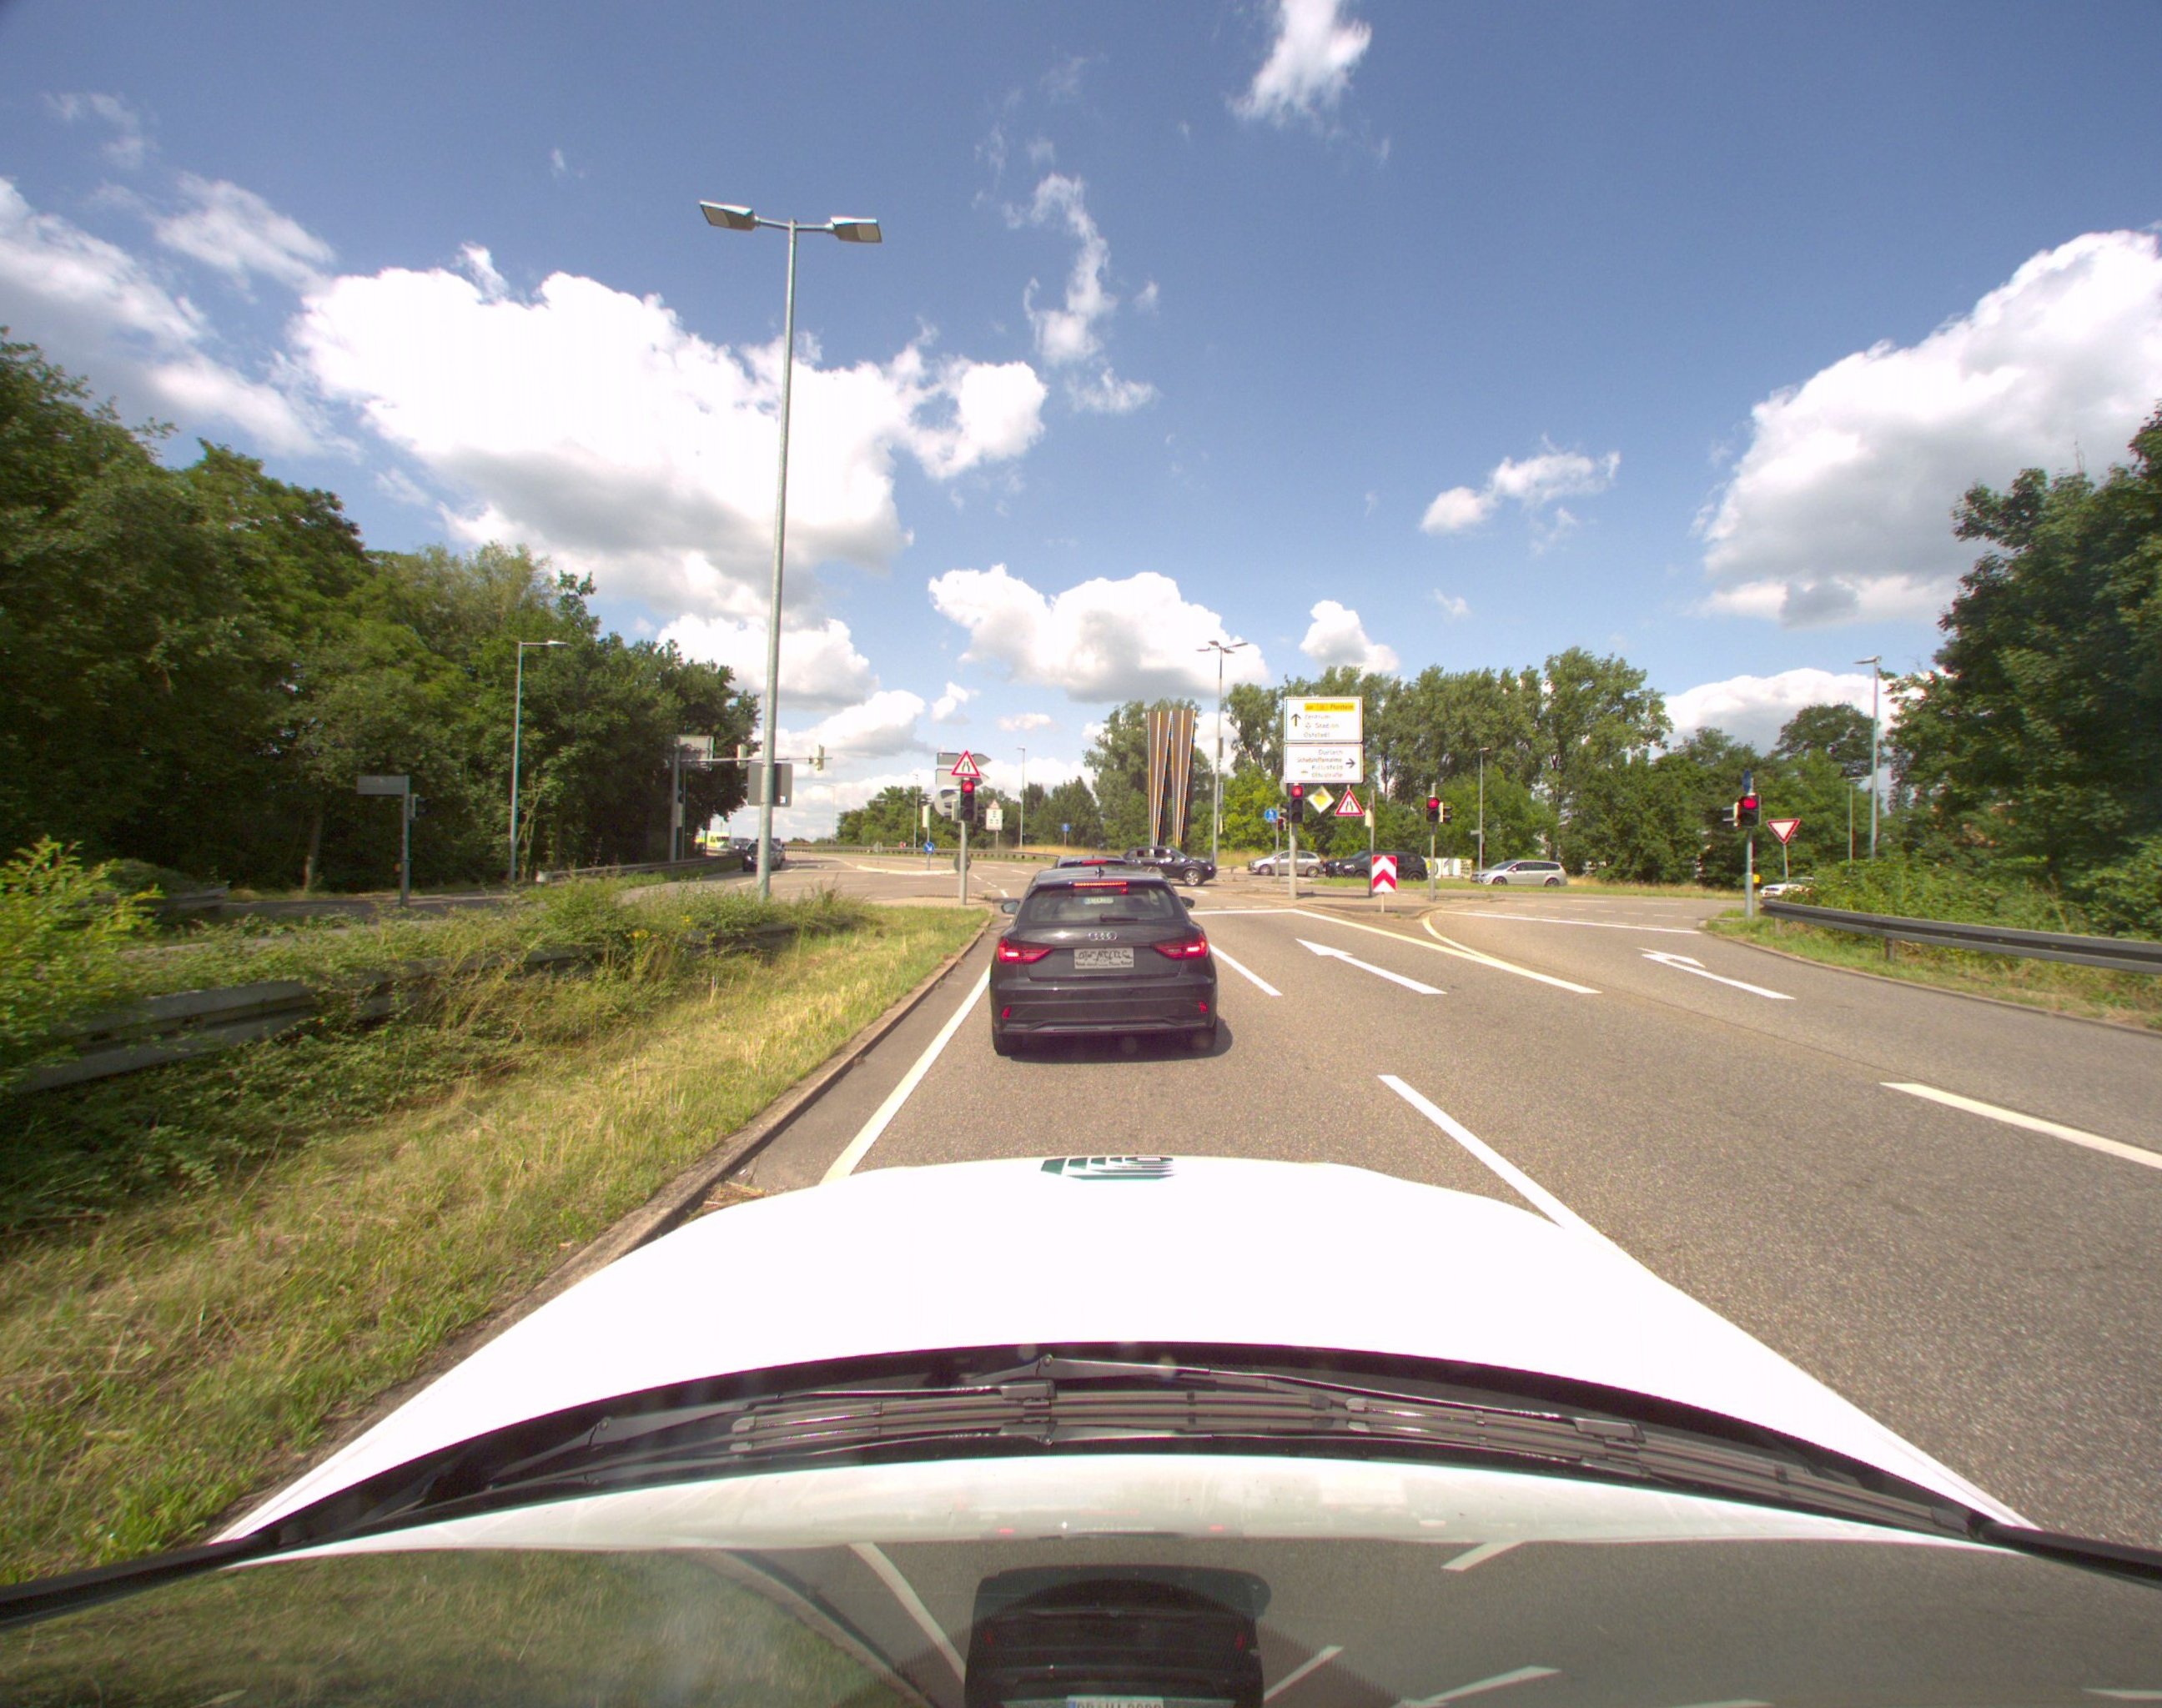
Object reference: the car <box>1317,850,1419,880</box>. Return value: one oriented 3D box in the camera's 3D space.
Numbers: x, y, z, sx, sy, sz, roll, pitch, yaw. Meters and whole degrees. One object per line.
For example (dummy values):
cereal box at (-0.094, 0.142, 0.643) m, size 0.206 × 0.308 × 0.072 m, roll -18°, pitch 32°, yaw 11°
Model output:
car at (15.289, 0.580, 43.559) m, size 4.831 × 1.545 × 1.737 m, roll 1°, pitch 0°, yaw 0°

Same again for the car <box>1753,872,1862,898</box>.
car at (39.679, 1.675, 44.542) m, size 4.481 × 1.281 × 1.736 m, roll 1°, pitch 0°, yaw -2°

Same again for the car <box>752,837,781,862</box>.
car at (-23.210, -0.315, 60.250) m, size 1.849 × 1.802 × 4.299 m, roll 1°, pitch 0°, yaw -19°

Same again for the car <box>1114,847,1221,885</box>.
car at (3.472, 0.454, 32.405) m, size 3.928 × 1.418 × 1.961 m, roll 1°, pitch 0°, yaw 15°

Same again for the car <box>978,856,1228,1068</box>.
car at (0.215, 0.763, 7.699) m, size 1.720 × 1.404 × 4.002 m, roll -1°, pitch 0°, yaw 2°

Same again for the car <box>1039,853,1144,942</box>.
car at (0.098, 0.712, 15.505) m, size 1.722 × 1.423 × 3.841 m, roll -1°, pitch 0°, yaw -2°

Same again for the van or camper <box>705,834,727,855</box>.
van or camper at (-46.628, -1.197, 103.966) m, size 2.006 × 2.683 × 6.798 m, roll 0°, pitch 0°, yaw -30°

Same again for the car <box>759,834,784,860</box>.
car at (-25.764, -0.567, 67.661) m, size 1.850 × 2.100 × 4.295 m, roll 1°, pitch 0°, yaw -22°

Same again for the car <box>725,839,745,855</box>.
car at (-38.769, -0.744, 91.169) m, size 1.853 × 1.705 × 4.289 m, roll 0°, pitch 0°, yaw -26°

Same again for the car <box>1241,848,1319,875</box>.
car at (11.545, 0.402, 47.450) m, size 4.089 × 1.496 × 2.001 m, roll 1°, pitch 0°, yaw 2°

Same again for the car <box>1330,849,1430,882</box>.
car at (14.513, 0.527, 39.722) m, size 4.253 × 1.545 × 1.737 m, roll 1°, pitch 0°, yaw 0°

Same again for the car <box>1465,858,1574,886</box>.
car at (21.367, 0.868, 39.754) m, size 4.460 × 1.320 × 1.736 m, roll 1°, pitch 0°, yaw -2°

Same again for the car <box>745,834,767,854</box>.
car at (-32.606, -0.963, 81.622) m, size 1.852 × 1.978 × 4.292 m, roll 1°, pitch 0°, yaw -25°

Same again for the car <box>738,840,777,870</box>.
car at (-18.274, 0.077, 46.194) m, size 1.844 × 1.618 × 3.974 m, roll 0°, pitch -1°, yaw -19°
